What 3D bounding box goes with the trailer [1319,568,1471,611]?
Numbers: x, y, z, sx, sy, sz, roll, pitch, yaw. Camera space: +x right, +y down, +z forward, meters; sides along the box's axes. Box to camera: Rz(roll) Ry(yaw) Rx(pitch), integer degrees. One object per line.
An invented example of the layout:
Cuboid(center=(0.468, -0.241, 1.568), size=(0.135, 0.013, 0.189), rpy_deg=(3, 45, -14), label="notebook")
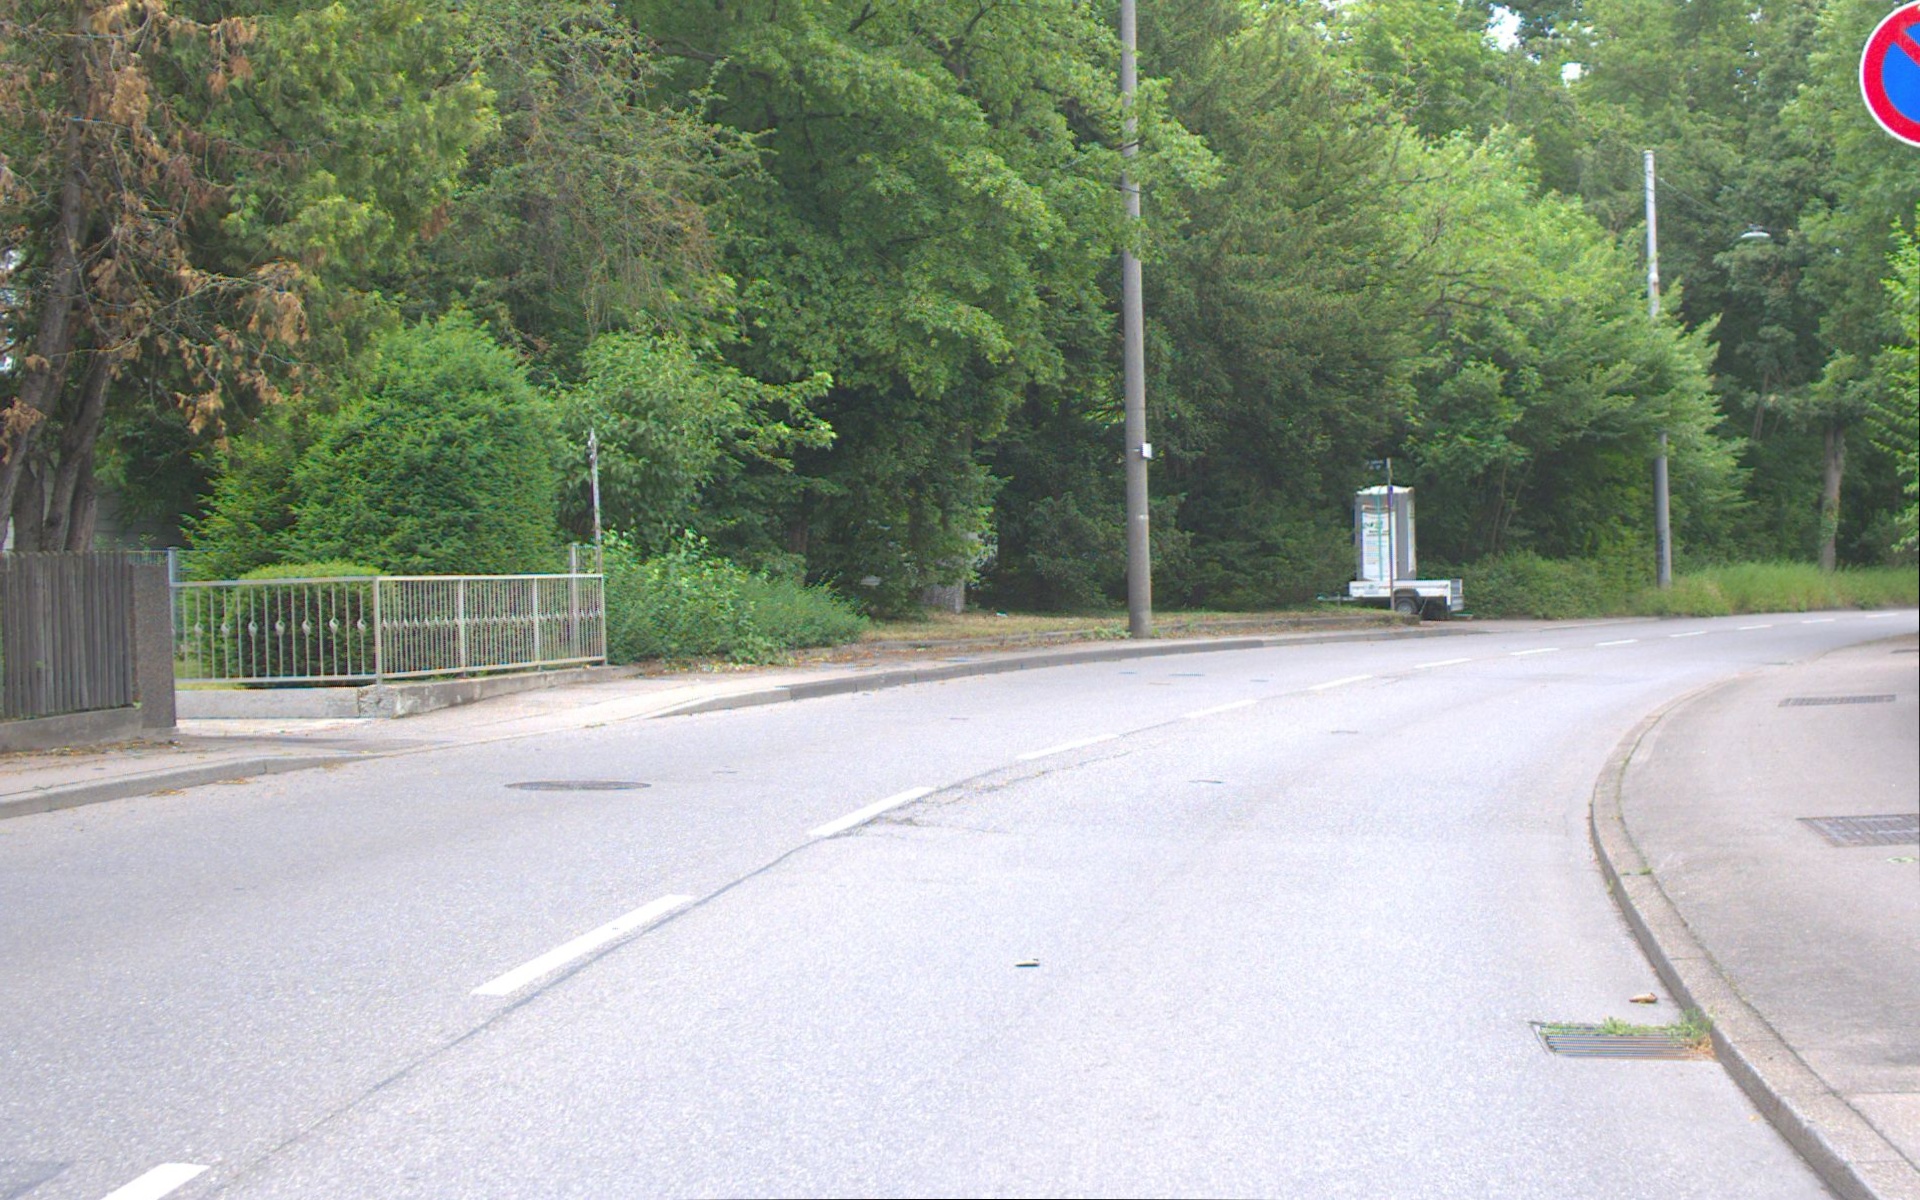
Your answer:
Cuboid(center=(8.929, -0.209, 70.509), size=(2.956, 0.826, 1.475), rpy_deg=(-1, 0, 13), label="trailer")
